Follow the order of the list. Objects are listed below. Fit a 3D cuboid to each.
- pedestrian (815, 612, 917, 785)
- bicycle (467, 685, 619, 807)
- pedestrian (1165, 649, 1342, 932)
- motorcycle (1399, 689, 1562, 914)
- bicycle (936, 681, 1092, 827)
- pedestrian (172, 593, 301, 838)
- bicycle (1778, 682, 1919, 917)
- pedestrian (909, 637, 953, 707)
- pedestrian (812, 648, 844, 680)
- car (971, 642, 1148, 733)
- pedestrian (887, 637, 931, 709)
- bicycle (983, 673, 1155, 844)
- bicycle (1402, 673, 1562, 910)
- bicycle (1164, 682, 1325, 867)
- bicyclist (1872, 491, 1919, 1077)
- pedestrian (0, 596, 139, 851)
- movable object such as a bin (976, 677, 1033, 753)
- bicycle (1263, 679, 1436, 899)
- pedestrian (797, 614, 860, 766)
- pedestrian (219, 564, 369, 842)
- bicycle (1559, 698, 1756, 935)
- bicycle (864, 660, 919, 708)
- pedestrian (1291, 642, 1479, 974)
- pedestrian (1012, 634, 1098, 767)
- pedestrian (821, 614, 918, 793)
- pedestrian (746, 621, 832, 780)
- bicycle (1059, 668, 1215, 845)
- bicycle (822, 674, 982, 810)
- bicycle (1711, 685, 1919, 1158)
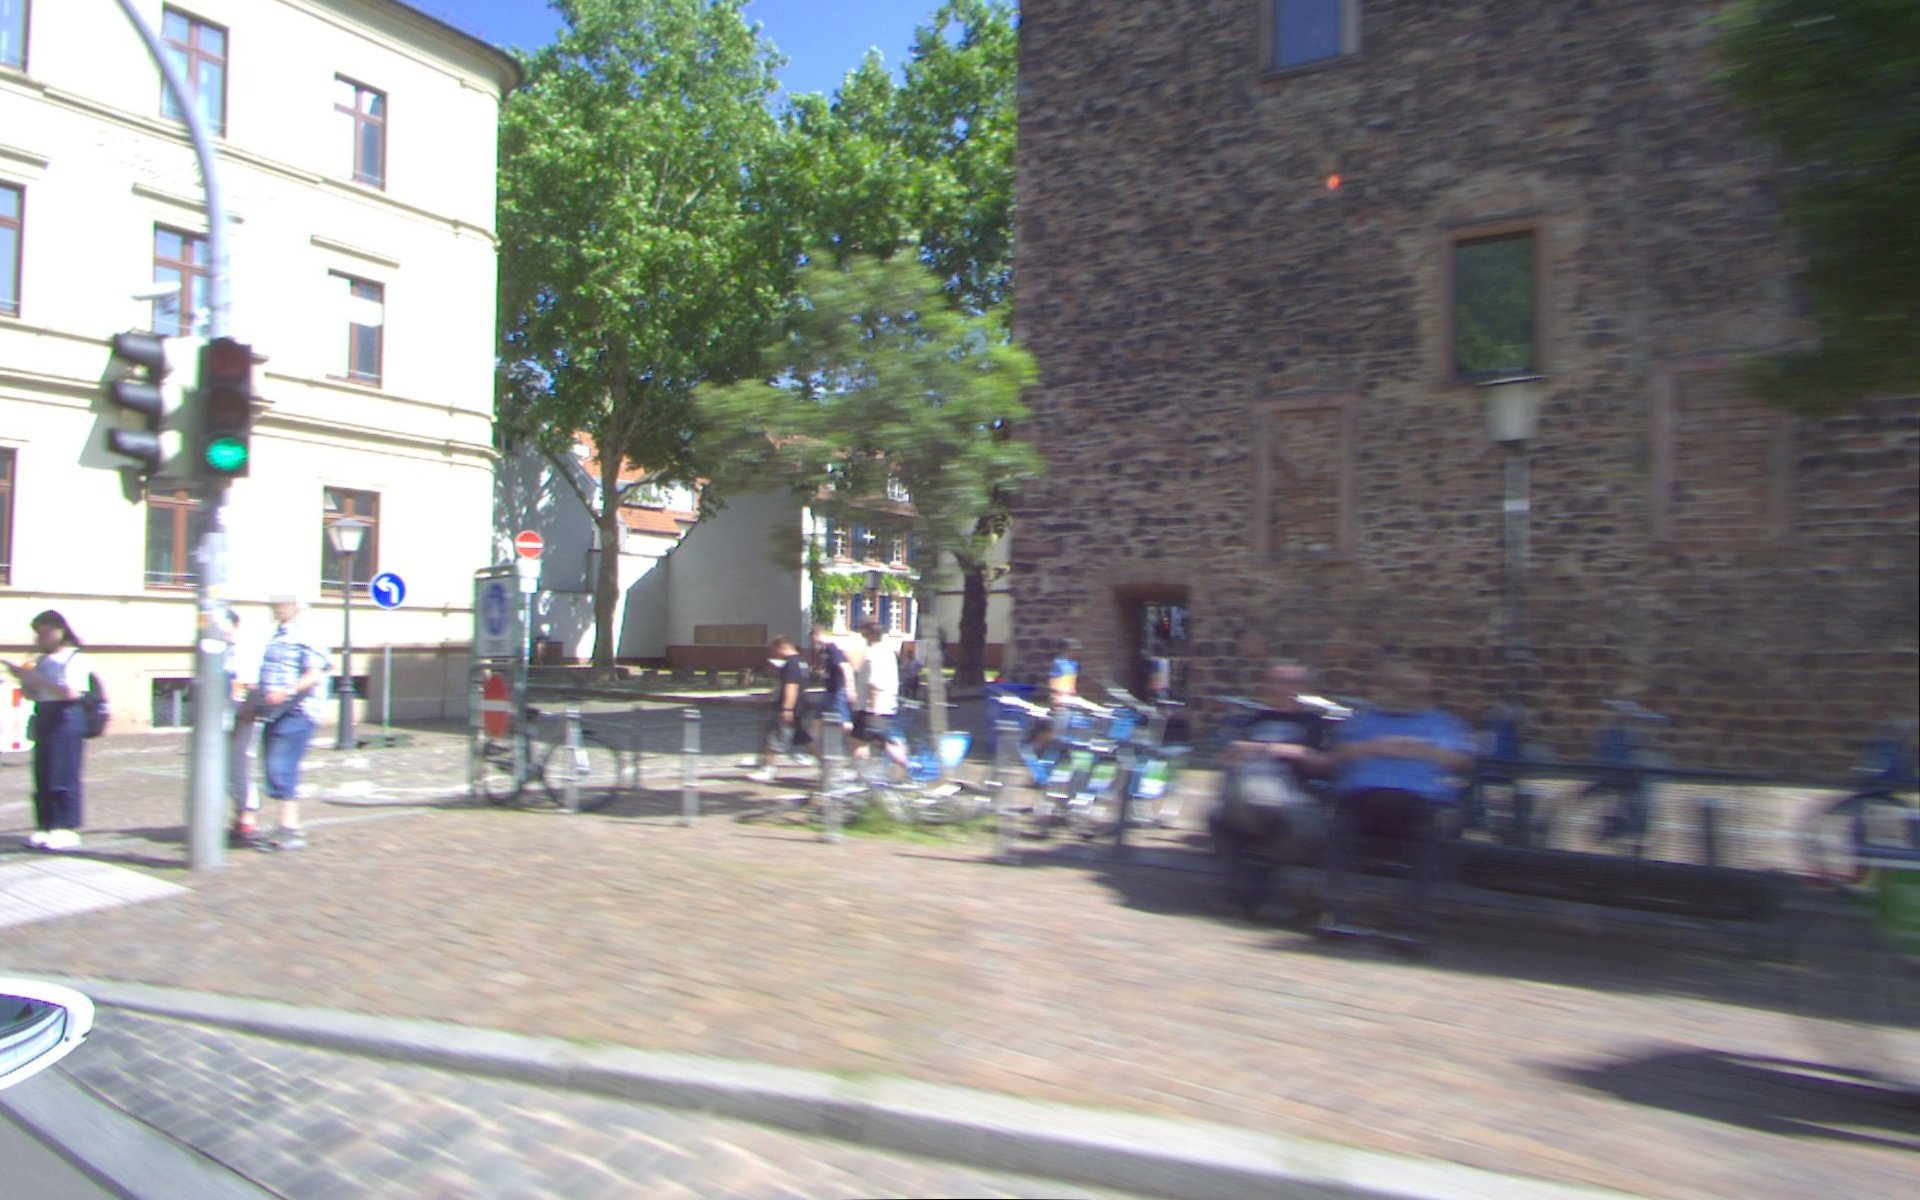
[{"bbox_3d":[-0.998,1.033,10.809,0.892,1.775,0.805,0,-2,10],"label":"pedestrian"},{"bbox_3d":[-3.816,1.308,9.124,1.559,1.015,0.507,-5,-6,34],"label":"bicycle"},{"bbox_3d":[1.555,0.915,5.231,0.683,1.298,0.960,-1,-3,30],"label":"pedestrian"},{"bbox_3d":[3.334,1.143,6.334,0.765,1.117,2.203,1,-4,30],"label":"motorcycle"},{"bbox_3d":[0.528,1.300,8.868,0.599,1.124,1.792,1,-4,30],"label":"bicycle"},{"bbox_3d":[-5.423,0.838,7.514,0.656,1.733,0.526,-1,-2,31],"label":"pedestrian"},{"bbox_3d":[5.398,1.121,6.003,0.716,1.212,1.544,-1,-4,38],"label":"bicycle"},{"bbox_3d":[-0.784,1.947,27.219,0.795,1.875,0.860,-1,-3,39],"label":"pedestrian"},{"bbox_3d":[-4.945,2.384,37.460,0.972,1.162,0.811,2,-2,-25],"label":"pedestrian"},{"bbox_3d":[2.218,1.792,21.342,1.914,1.722,4.151,-1,-3,37],"label":"car"},{"bbox_3d":[-1.351,1.918,26.521,0.795,1.875,0.860,-1,-3,39],"label":"pedestrian"},{"bbox_3d":[0.972,1.241,8.346,0.599,1.213,2.079,1,-4,30],"label":"bicycle"},{"bbox_3d":[3.367,1.100,6.390,0.765,1.213,2.079,1,-4,30],"label":"bicycle"},{"bbox_3d":[2.097,1.149,7.154,0.595,1.098,2.079,1,-4,30],"label":"bicycle"},{"bbox_3d":[3.068,0.511,2.569,0.872,1.648,0.709,0,-2,25],"label":"bicyclist"},{"bbox_3d":[-6.493,0.847,7.180,0.672,1.696,0.714,-1,-2,31],"label":"pedestrian"},{"bbox_3d":[0.690,1.772,15.589,0.740,1.138,0.489,-1,-3,32],"label":"movable object such as a bin"},{"bbox_3d":[2.706,1.164,6.790,0.765,1.213,2.079,1,-4,30],"label":"bicycle"},{"bbox_3d":[-1.758,1.196,13.442,0.775,1.966,0.805,1,-2,-7],"label":"pedestrian"},{"bbox_3d":[-4.803,0.713,7.231,0.720,1.875,0.615,-1,-2,32],"label":"pedestrian"},{"bbox_3d":[4.040,1.156,5.946,0.789,1.079,2.023,1,-4,30],"label":"bicycle"},{"bbox_3d":[-1.804,2.220,26.721,0.317,1.224,1.809,-1,-2,39],"label":"bicycle"},{"bbox_3d":[2.050,0.875,4.753,0.683,1.324,1.246,-1,-3,30],"label":"pedestrian"},{"bbox_3d":[1.323,1.367,13.936,0.946,1.782,0.757,-1,-3,31],"label":"pedestrian"},{"bbox_3d":[-1.034,1.167,11.548,0.923,1.985,0.656,0,-2,14],"label":"pedestrian"},{"bbox_3d":[-1.997,1.163,11.806,0.909,1.787,0.990,1,-2,-6],"label":"pedestrian"},{"bbox_3d":[1.481,1.179,8.040,0.519,1.213,2.079,1,-4,30],"label":"bicycle"},{"bbox_3d":[-0.488,1.269,9.333,0.554,1.124,1.792,1,-4,30],"label":"bicycle"},{"bbox_3d":[3.189,0.818,2.503,1.976,1.143,0.689,-1,-3,24],"label":"bicycle"}]
